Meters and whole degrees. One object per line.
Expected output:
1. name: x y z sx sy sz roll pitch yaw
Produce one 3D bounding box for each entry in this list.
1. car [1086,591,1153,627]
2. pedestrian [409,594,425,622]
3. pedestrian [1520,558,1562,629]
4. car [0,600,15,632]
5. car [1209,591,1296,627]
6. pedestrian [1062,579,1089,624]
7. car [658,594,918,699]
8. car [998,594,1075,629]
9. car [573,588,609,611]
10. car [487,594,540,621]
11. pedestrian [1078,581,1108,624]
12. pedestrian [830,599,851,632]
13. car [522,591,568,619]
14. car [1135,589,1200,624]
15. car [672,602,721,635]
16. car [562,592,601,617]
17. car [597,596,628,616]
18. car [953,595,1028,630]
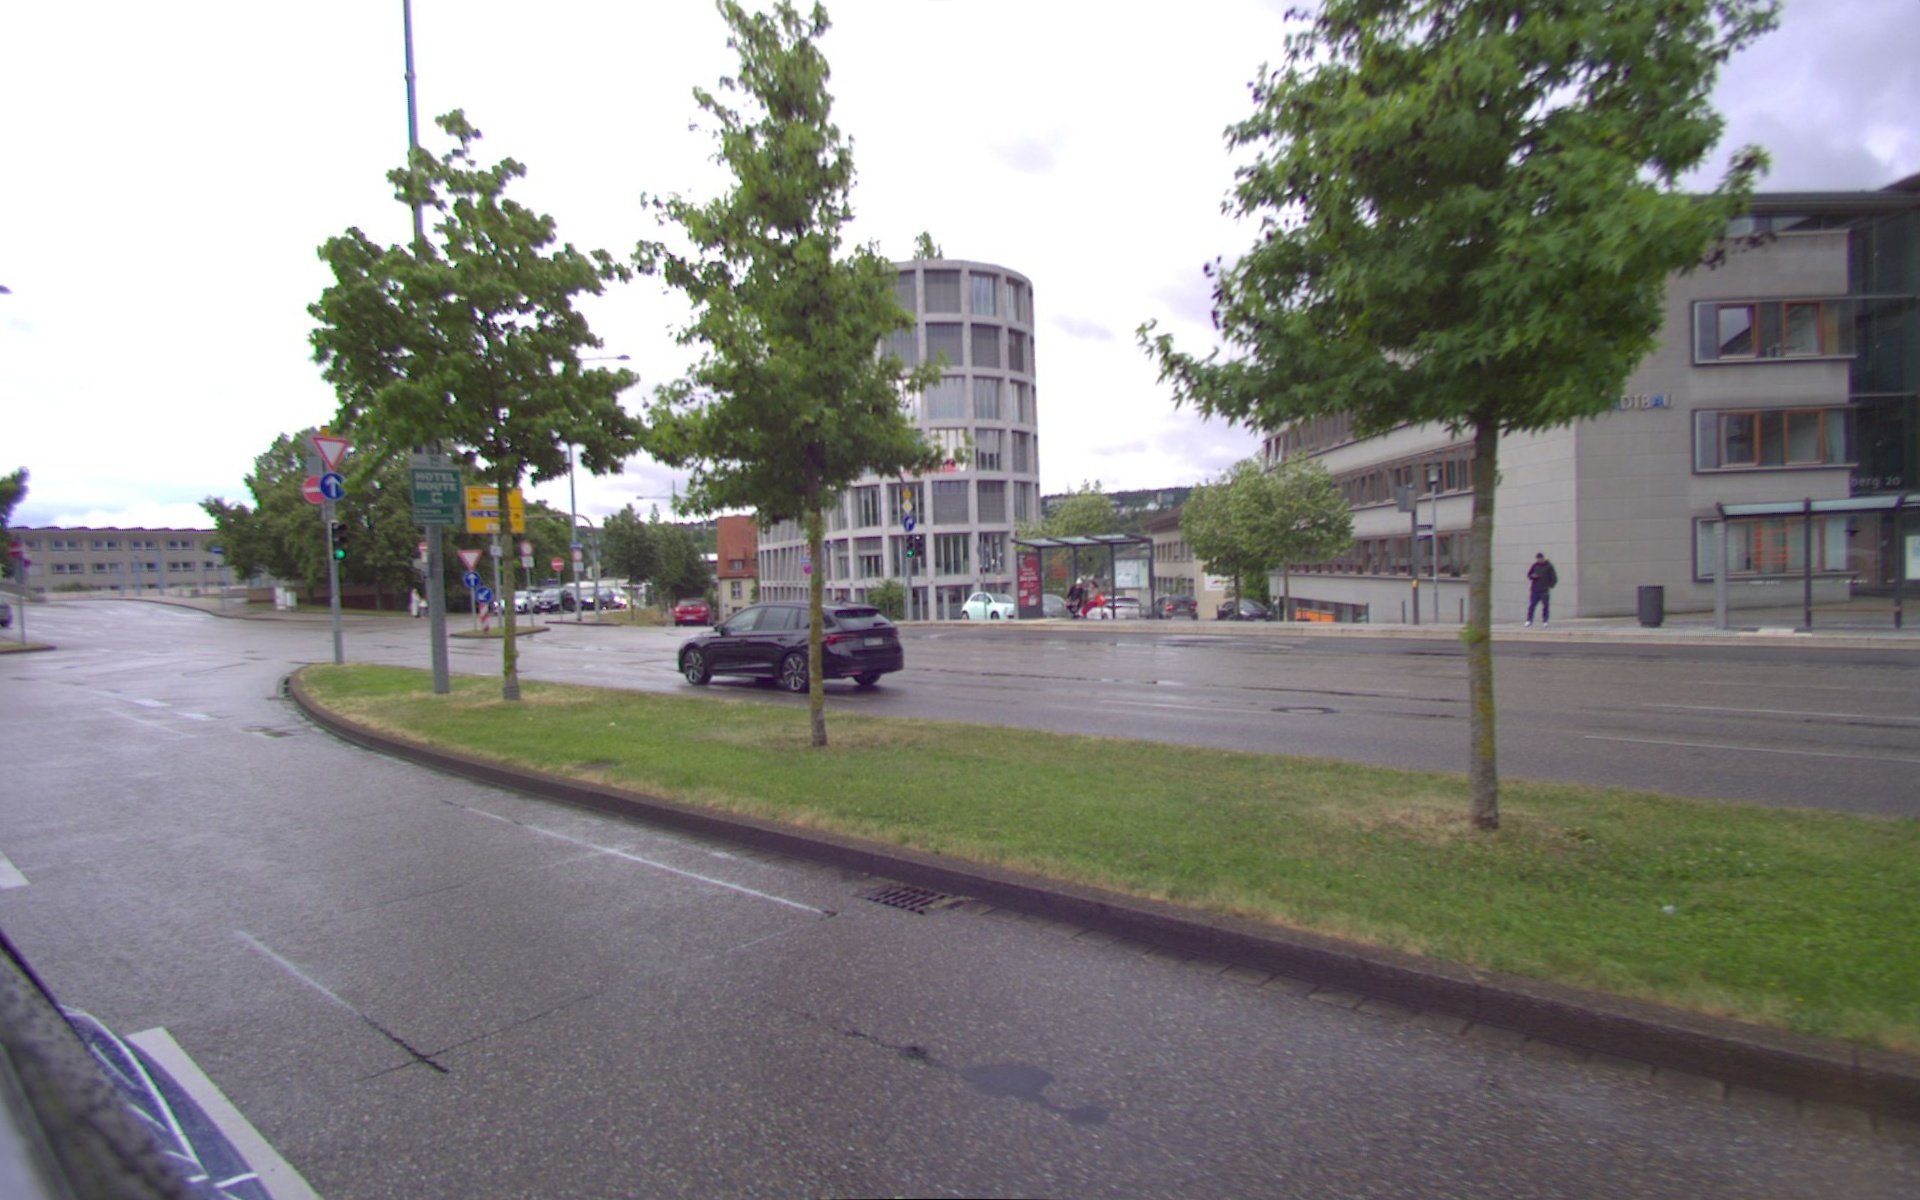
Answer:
1. car: 7.186 0.384 45.945 1.737 1.507 3.797 -1 1 -12
2. pedestrian: -31.067 0.463 57.924 0.631 1.582 0.644 2 2 44
3. pedestrian: 14.121 -0.166 24.594 0.468 1.696 0.764 -1 0 -43
4. car: -46.331 0.735 46.878 3.829 1.459 1.634 0 1 6
5. car: 13.193 0.393 45.819 1.605 1.507 3.593 -1 1 -32
6. pedestrian: 3.889 0.054 33.925 0.625 1.480 0.672 0 1 38
7. car: -3.027 0.704 17.212 4.633 1.539 1.664 -1 1 38
8. car: 3.442 0.484 46.015 1.606 1.507 3.591 -1 1 -35
9. car: -26.953 -0.061 74.002 1.701 1.579 3.845 -1 1 -8
10. car: -28.310 0.420 64.245 1.858 1.579 4.147 -1 1 -6
11. pedestrian: 4.374 0.082 33.367 0.720 1.402 0.672 0 1 38
12. pedestrian: -5.827 0.745 49.311 0.704 1.595 0.665 0 2 38
13. car: -25.688 0.279 62.741 1.701 1.579 3.845 -1 1 -8
14. car: 9.577 0.282 46.933 1.606 1.507 3.591 -1 1 -12
15. car: -13.683 0.943 52.732 1.801 1.563 4.037 -1 1 -4
16. car: -25.939 0.268 69.443 1.701 1.579 3.845 -1 1 -8
17. car: -28.751 0.488 83.770 1.701 1.579 3.845 -1 1 -8
18. car: 1.357 0.545 46.086 1.606 1.507 3.591 -1 1 -35
